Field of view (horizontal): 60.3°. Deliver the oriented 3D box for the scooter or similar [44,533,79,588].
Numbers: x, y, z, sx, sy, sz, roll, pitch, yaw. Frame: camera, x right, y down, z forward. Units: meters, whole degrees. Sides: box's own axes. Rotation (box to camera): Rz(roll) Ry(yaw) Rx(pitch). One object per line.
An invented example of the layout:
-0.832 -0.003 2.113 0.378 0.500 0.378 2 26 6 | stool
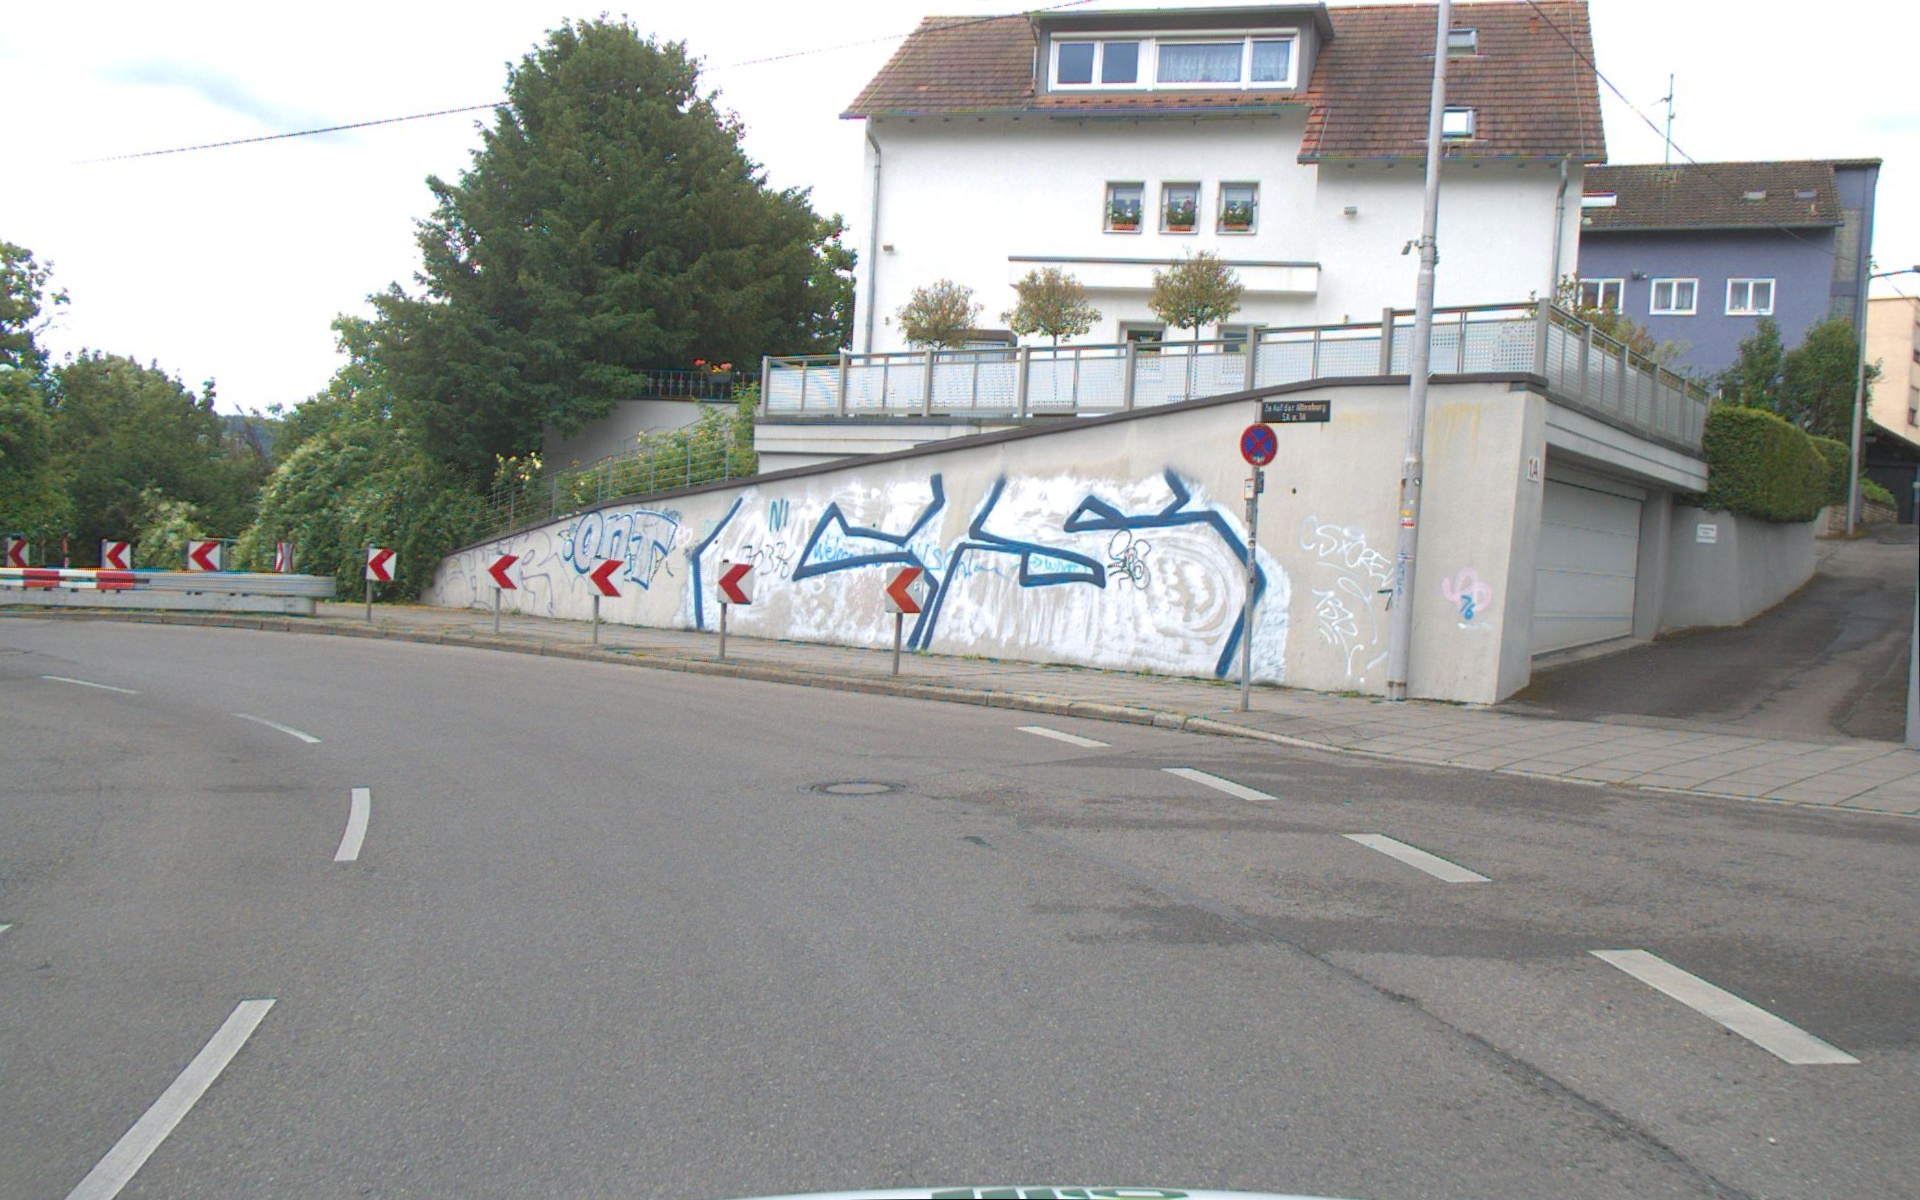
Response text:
-21.273 -0.948 39.178 0.428 1.272 1.494 1 2 -17 | scooter or similar
